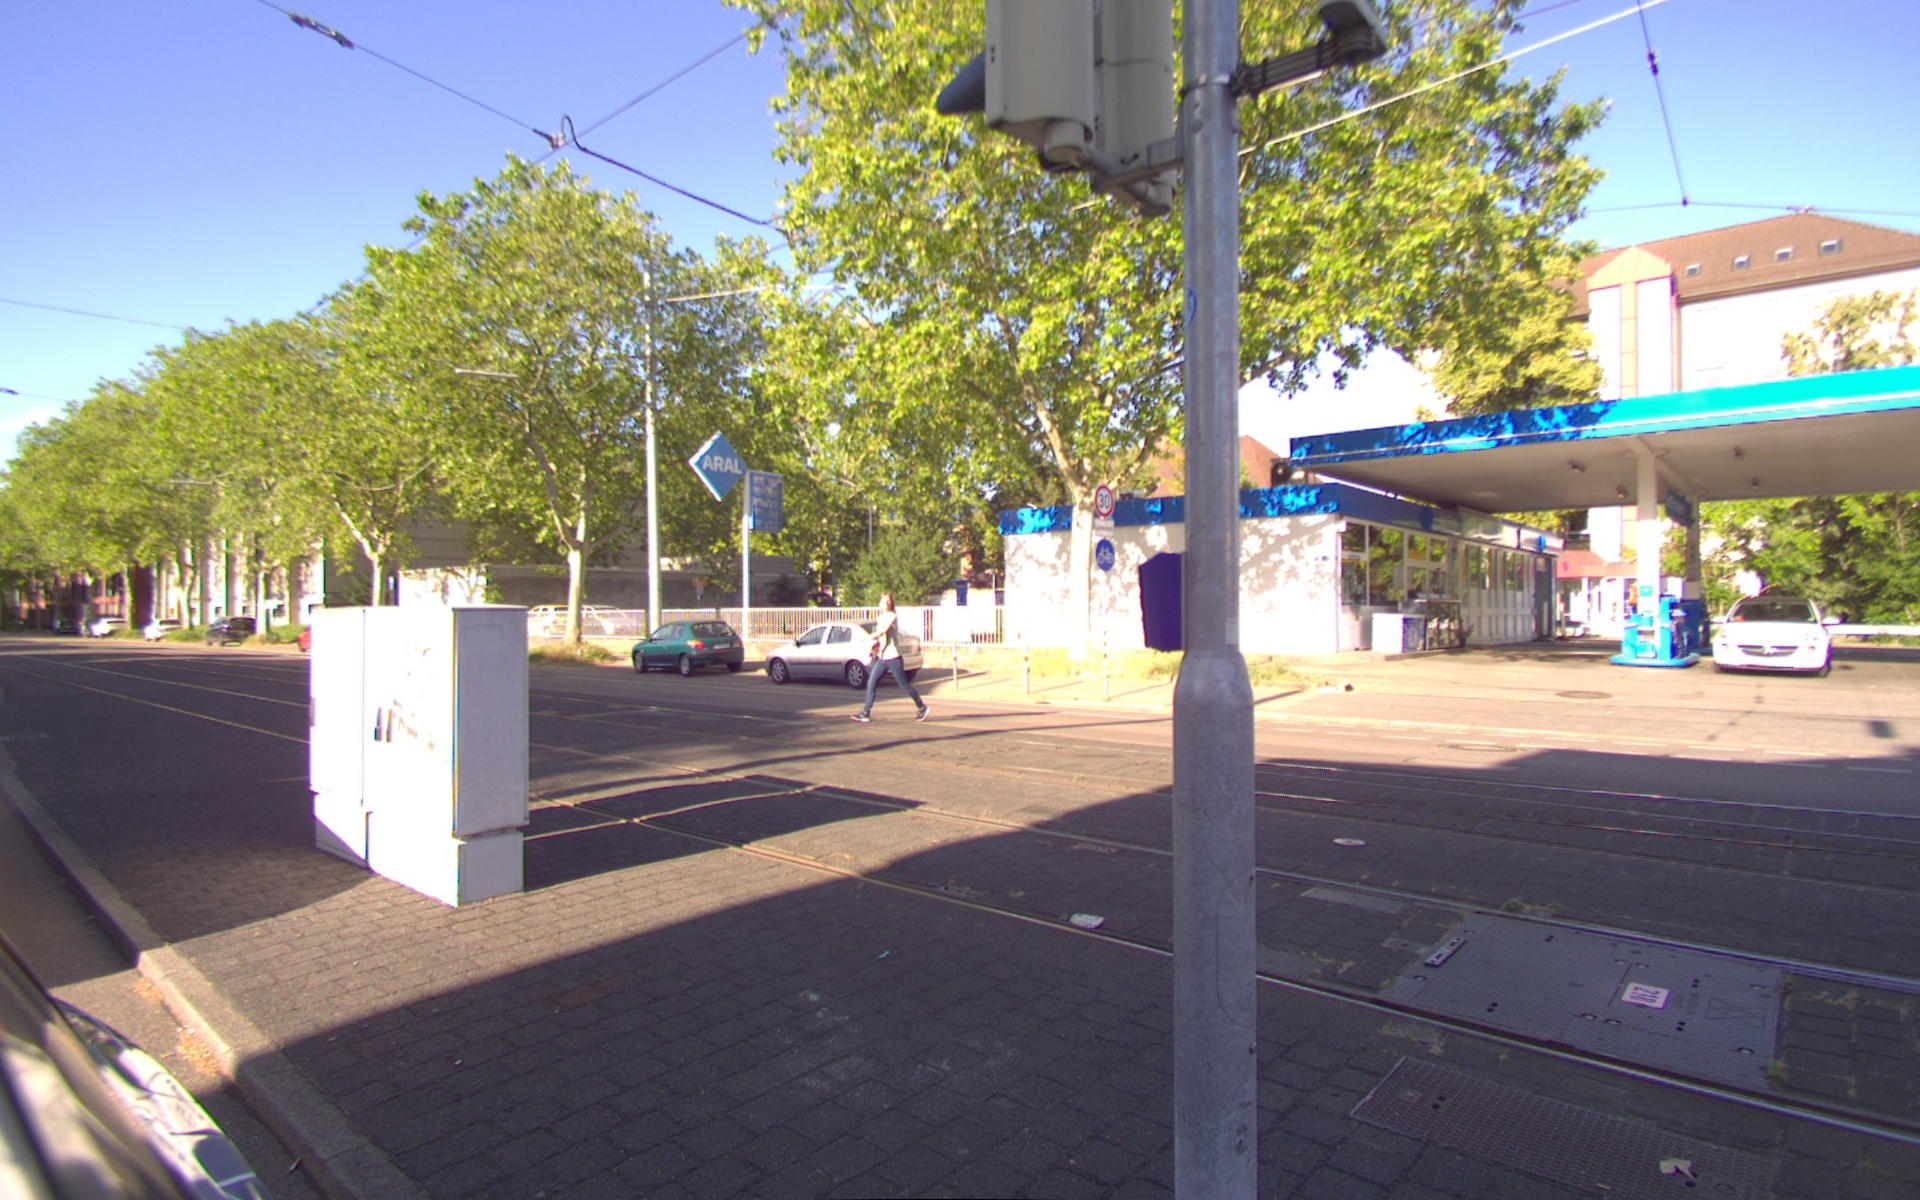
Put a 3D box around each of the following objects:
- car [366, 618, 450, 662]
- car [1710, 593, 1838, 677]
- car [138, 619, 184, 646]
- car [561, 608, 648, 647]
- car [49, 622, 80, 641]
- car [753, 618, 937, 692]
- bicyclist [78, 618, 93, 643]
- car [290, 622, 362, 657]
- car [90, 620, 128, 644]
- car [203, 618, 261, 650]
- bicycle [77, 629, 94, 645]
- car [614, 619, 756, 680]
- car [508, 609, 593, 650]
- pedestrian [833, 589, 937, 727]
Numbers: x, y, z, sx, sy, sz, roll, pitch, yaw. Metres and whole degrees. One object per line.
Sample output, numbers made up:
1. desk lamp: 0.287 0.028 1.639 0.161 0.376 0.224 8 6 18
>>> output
1. car: -21.964 1.538 40.180 4.002 1.545 1.820 -1 1 45
2. car: 15.981 0.643 19.822 1.780 1.475 3.946 -1 -1 40
3. car: -53.838 2.157 68.200 4.098 1.686 1.821 -1 1 44
4. car: -15.392 1.170 43.766 3.999 1.545 1.822 -1 1 42
5. car: -85.038 2.942 96.096 4.098 1.686 1.821 -1 1 44
6. car: -2.622 1.176 22.638 3.997 1.418 1.823 -1 1 40
7. bicyclist: -64.078 2.231 74.154 1.070 1.878 0.711 -1 -2 41
8. car: -28.964 1.771 46.173 4.001 1.418 1.821 -1 1 44
9. car: -66.942 2.485 79.572 4.098 1.686 1.821 -1 1 44
10. car: -40.655 1.882 56.475 4.098 1.628 1.821 -1 1 44
11. bicycle: -64.083 2.683 74.151 2.532 1.129 0.645 -1 -1 41
12. car: -7.429 1.273 27.128 4.138 1.418 1.820 -1 1 45
13. car: -17.133 1.193 42.273 4.002 1.545 1.820 -1 1 45
14. pedestrian: -0.938 0.702 12.556 1.087 1.631 0.718 1 -2 -25
